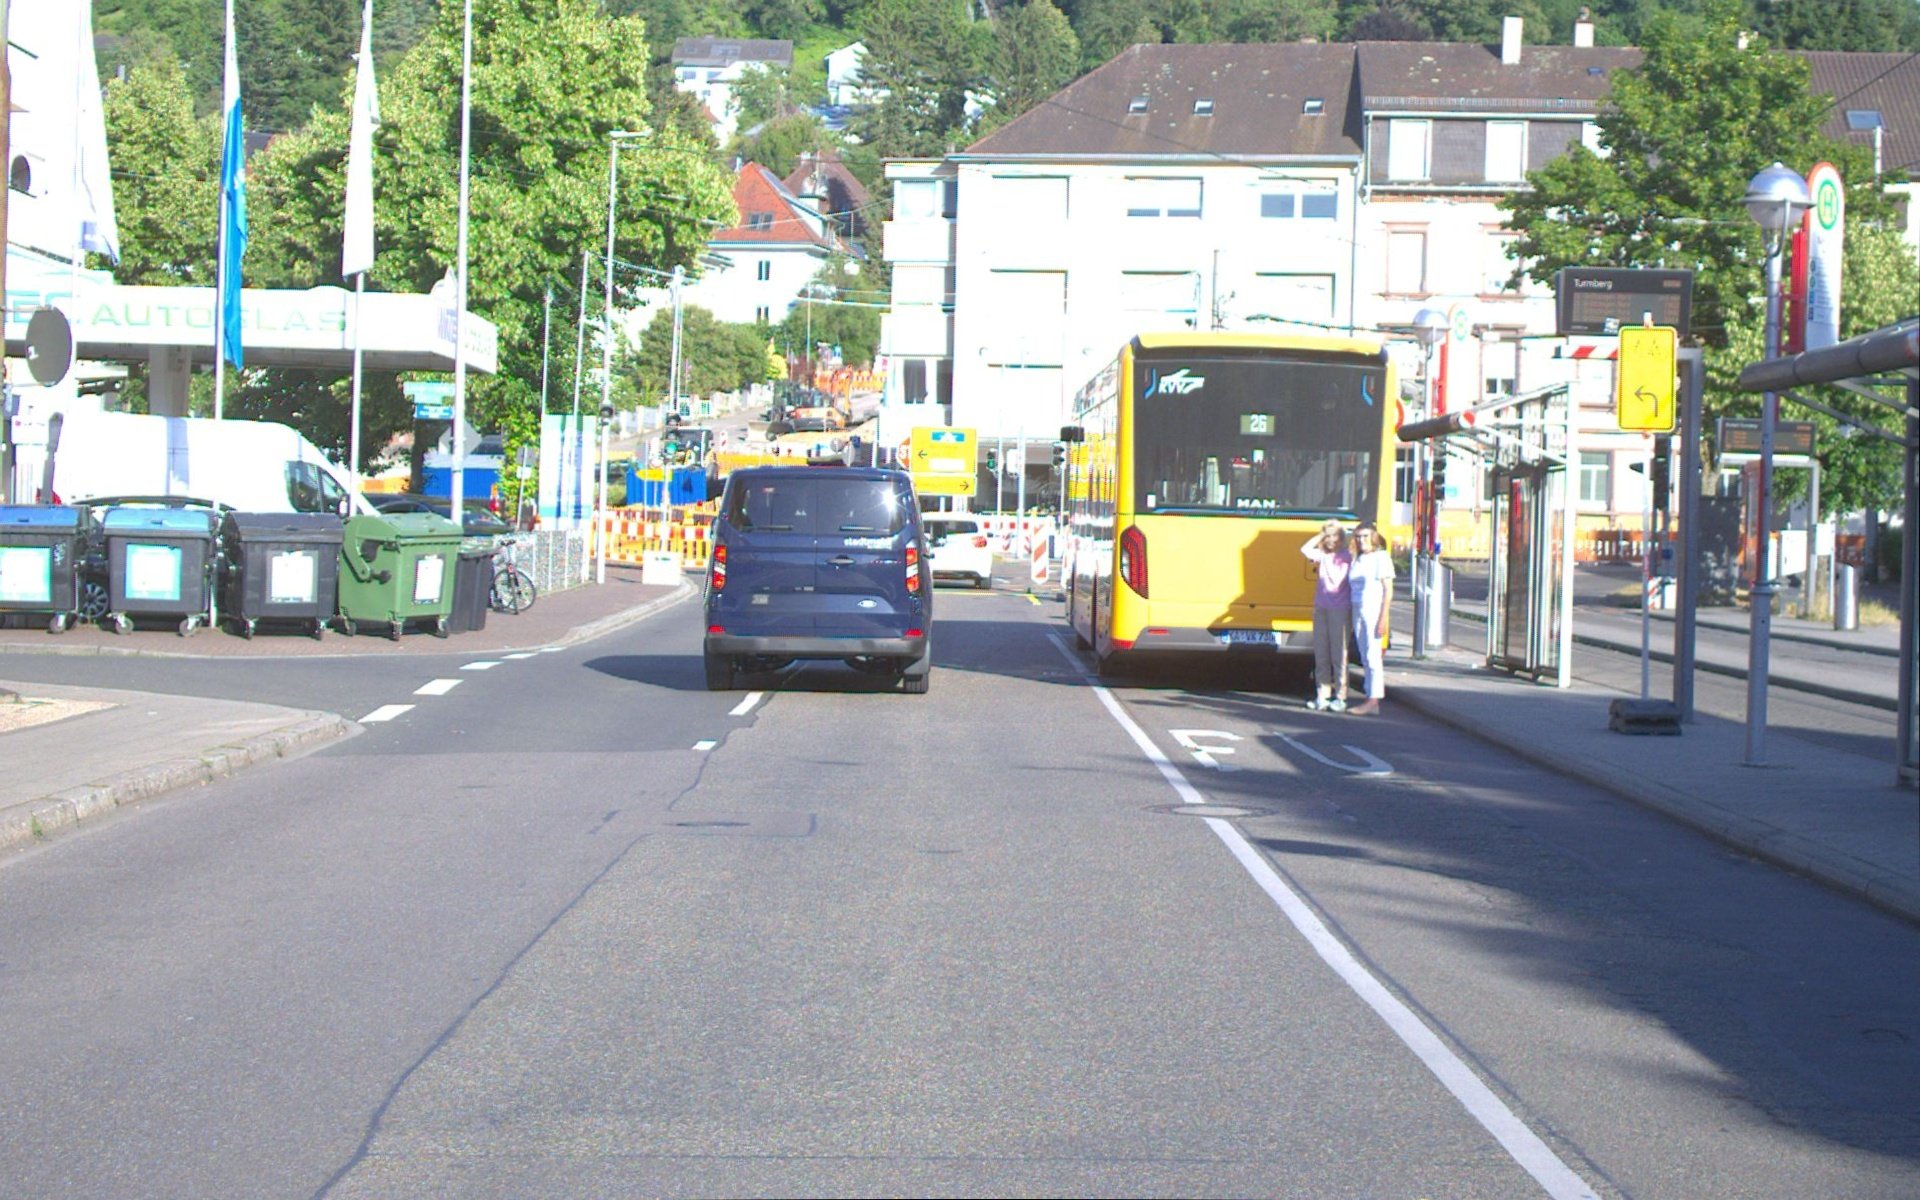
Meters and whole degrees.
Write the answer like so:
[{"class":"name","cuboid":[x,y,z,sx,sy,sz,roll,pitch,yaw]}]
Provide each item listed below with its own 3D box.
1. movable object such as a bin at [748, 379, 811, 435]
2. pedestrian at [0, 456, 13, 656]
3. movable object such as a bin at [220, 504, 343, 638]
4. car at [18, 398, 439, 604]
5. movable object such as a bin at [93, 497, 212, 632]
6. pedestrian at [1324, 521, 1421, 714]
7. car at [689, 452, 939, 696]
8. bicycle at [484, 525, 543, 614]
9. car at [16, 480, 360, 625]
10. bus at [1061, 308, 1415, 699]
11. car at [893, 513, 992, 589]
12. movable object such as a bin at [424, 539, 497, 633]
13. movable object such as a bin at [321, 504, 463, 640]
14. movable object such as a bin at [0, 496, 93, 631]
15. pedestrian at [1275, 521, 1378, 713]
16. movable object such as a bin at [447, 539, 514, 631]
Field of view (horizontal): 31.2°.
[{"class":"movable object such as a bin","cuboid":[-9.035,-9.680,172.775,2.192,2.681,3.998,2,2,11]},{"class":"pedestrian","cuboid":[-9.354,-0.419,31.887,0.818,1.861,0.795,2,2,9]},{"class":"movable object such as a bin","cuboid":[-7.805,-0.349,39.537,1.218,1.477,0.704,-1,5,-29]},{"class":"car","cuboid":[-9.604,-1.285,45.102,5.054,2.461,2.109,2,1,-22]},{"class":"movable object such as a bin","cuboid":[-9.252,-0.410,39.403,1.218,1.477,0.704,1,4,-4]},{"class":"pedestrian","cuboid":[3.488,0.144,29.068,0.544,1.607,0.549,1,1,-37]},{"class":"car","cuboid":[-1.249,-0.268,31.594,2.062,2.007,5.000,2,1,0]},{"class":"bicycle","cuboid":[-6.169,-0.437,47.479,0.723,1.174,1.781,1,1,-9]},{"class":"car","cuboid":[-9.468,-0.592,42.174,3.985,1.563,1.773,2,2,-14]},{"class":"bus","cuboid":[2.647,-1.042,36.633,2.688,3.404,12.019,2,2,0]},{"class":"car","cuboid":[-0.308,-0.940,65.642,1.794,1.405,4.000,0,1,1]},{"class":"movable object such as a bin","cuboid":[-6.032,-0.171,41.525,0.660,1.059,0.585,4,4,12]},{"class":"movable object such as a bin","cuboid":[-6.707,-0.343,40.596,1.056,1.477,1.310,4,5,28]},{"class":"movable object such as a bin","cuboid":[-10.576,-0.426,39.278,1.177,1.477,0.704,1,4,-4]},{"class":"pedestrian","cuboid":[3.131,0.138,29.380,0.544,1.607,0.636,1,1,-37]},{"class":"movable object such as a bin","cuboid":[-5.876,-0.187,42.134,0.640,1.065,0.580,3,5,12]}]
